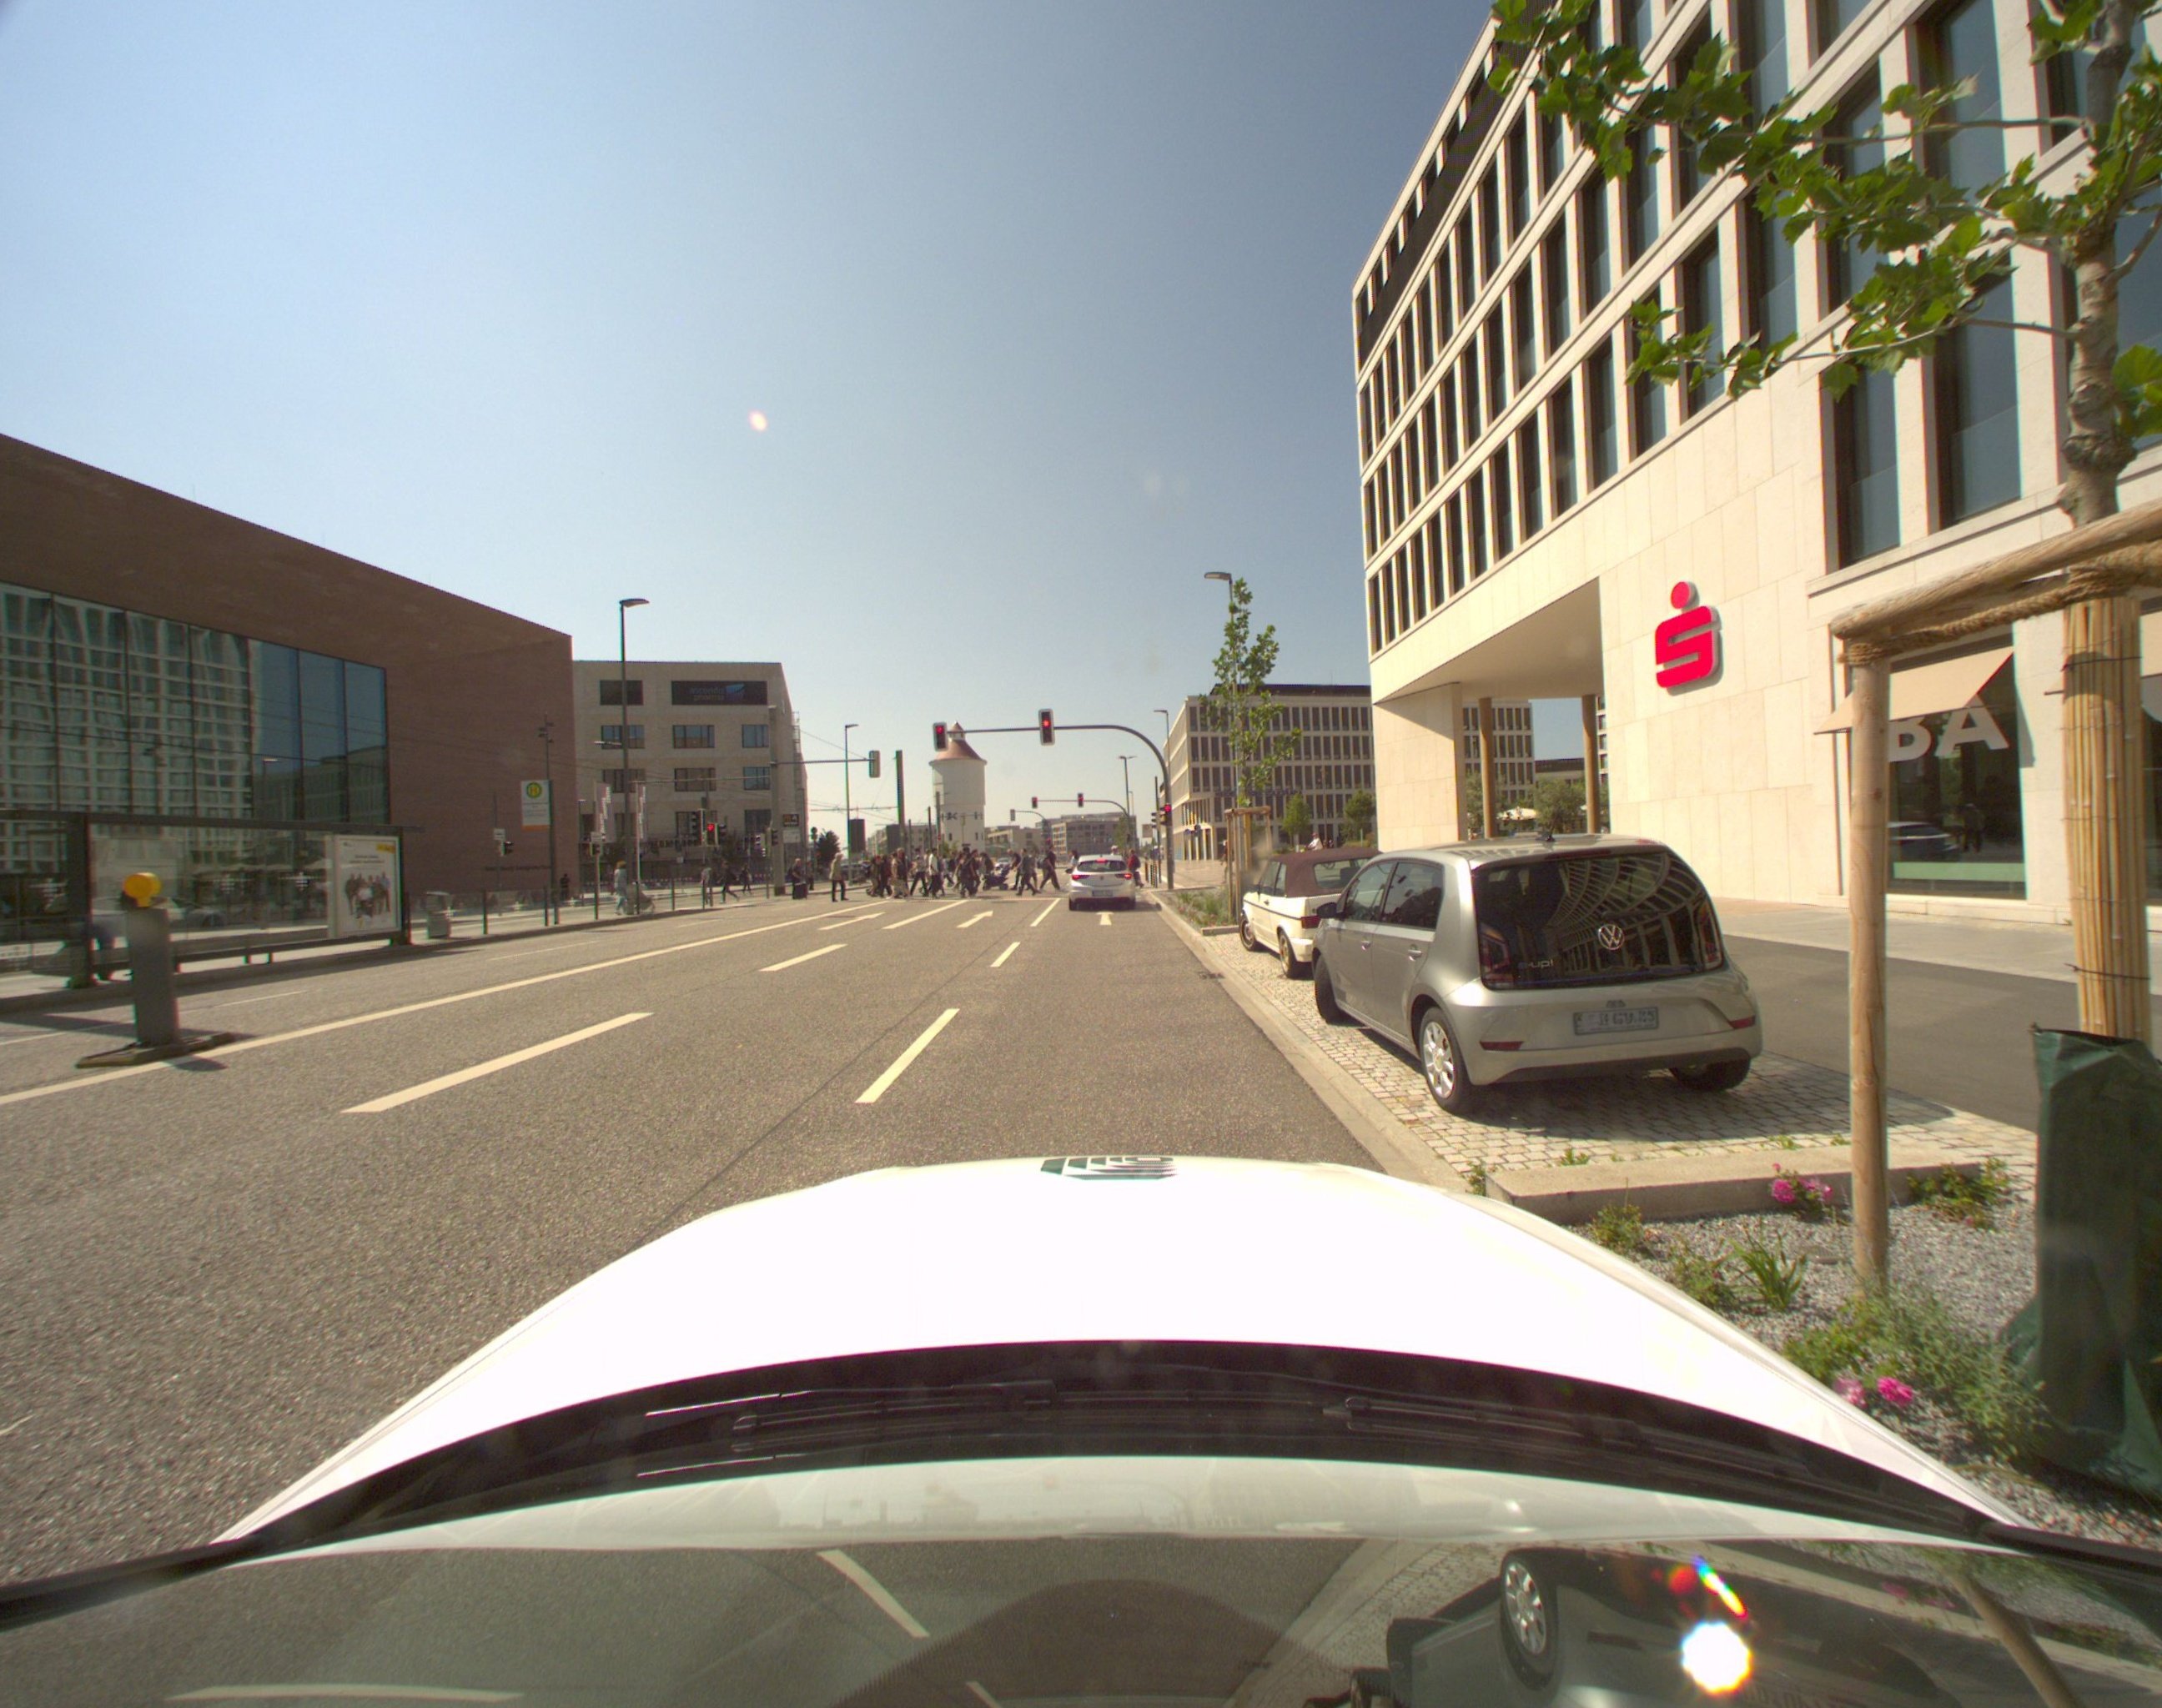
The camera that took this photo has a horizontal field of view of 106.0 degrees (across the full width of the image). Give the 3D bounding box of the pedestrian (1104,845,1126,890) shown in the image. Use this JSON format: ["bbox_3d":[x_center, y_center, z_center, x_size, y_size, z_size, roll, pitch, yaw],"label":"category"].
[{"bbox_3d":[1.328,0.517,31.923,0.763,1.734,0.692,-2,0,2],"label":"pedestrian"}]

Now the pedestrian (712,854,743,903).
[{"bbox_3d":[-14.975,1.018,34.552,1.022,2.013,0.949,-2,0,-17],"label":"pedestrian"}]

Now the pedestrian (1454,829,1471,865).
[{"bbox_3d":[21.535,-0.383,45.989,0.641,2.013,0.622,-2,0,1],"label":"pedestrian"}]

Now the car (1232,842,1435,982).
[{"bbox_3d":[2.988,0.598,10.455,1.424,1.390,4.001,-2,0,2],"label":"car"}]

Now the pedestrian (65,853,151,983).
[{"bbox_3d":[-14.050,0.895,11.775,0.551,1.820,0.596,-1,0,-20],"label":"pedestrian"}]

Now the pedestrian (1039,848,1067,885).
[{"bbox_3d":[-1.418,0.612,41.349,1.175,1.820,1.070,-2,0,5],"label":"pedestrian"}]

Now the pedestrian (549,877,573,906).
[{"bbox_3d":[-29.497,2.136,46.193,0.708,1.571,0.891,-2,0,1],"label":"pedestrian"}]

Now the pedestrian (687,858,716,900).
[{"bbox_3d":[-16.022,1.042,34.434,0.895,1.674,1.007,-2,0,-17],"label":"pedestrian"}]

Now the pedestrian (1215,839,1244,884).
[{"bbox_3d":[5.692,0.284,31.251,0.986,1.655,0.692,-2,0,3],"label":"pedestrian"}]

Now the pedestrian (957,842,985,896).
[{"bbox_3d":[-4.012,0.539,29.694,0.886,1.890,0.795,-2,0,-4],"label":"pedestrian"}]

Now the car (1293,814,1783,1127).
[{"bbox_3d":[2.736,0.579,5.814,1.550,1.472,3.471,-4,0,1],"label":"car"}]

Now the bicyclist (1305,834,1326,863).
[{"bbox_3d":[11.186,-0.251,38.877,0.616,1.360,0.898,-2,0,-9],"label":"bicyclist"}]

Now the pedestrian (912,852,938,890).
[{"bbox_3d":[-7.078,0.755,36.958,0.883,1.647,0.798,-2,0,5],"label":"pedestrian"}]

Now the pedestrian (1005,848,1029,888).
[{"bbox_3d":[-2.710,0.590,34.382,0.887,1.647,0.794,-2,0,-8],"label":"pedestrian"}]

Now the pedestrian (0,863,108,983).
[{"bbox_3d":[-16.384,1.070,12.948,0.808,1.820,0.825,-1,0,2],"label":"pedestrian"}]

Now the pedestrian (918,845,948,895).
[{"bbox_3d":[-5.836,0.625,32.053,0.883,1.890,0.798,-2,0,6],"label":"pedestrian"}]

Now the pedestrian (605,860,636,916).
[{"bbox_3d":[-13.835,1.016,24.489,0.502,1.622,0.650,-2,0,1],"label":"pedestrian"}]

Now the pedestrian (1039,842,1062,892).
[{"bbox_3d":[-1.180,0.506,32.051,0.763,1.890,0.692,-2,0,2],"label":"pedestrian"}]

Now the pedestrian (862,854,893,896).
[{"bbox_3d":[-8.230,0.842,33.003,0.906,1.637,0.815,-2,0,6],"label":"pedestrian"}]

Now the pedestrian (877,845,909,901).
[{"bbox_3d":[-6.588,0.652,28.548,0.886,1.890,0.691,-2,0,-4],"label":"pedestrian"}]

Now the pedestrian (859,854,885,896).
[{"bbox_3d":[-8.096,0.823,31.561,0.724,1.576,0.642,-2,0,6],"label":"pedestrian"}]

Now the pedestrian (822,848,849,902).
[{"bbox_3d":[-8.739,0.731,29.016,0.634,1.890,0.797,-2,0,3],"label":"pedestrian"}]

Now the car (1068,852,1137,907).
[{"bbox_3d":[0.664,0.680,22.684,1.764,1.395,3.535,-1,-1,3],"label":"car"}]

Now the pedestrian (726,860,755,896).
[{"bbox_3d":[-18.166,1.282,43.472,0.880,1.890,0.989,-2,0,21],"label":"pedestrian"}]

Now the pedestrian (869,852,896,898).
[{"bbox_3d":[-7.237,0.764,29.726,0.630,1.618,0.770,-2,0,7],"label":"pedestrian"}]

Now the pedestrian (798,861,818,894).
[{"bbox_3d":[-14.267,1.210,42.525,0.663,1.681,0.700,-3,0,42],"label":"pedestrian"}]

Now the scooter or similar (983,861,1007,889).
[{"bbox_3d":[-3.619,0.880,34.226,0.950,1.118,0.765,-2,0,-8],"label":"scooter or similar"}]

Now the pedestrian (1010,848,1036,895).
[{"bbox_3d":[-2.077,0.628,29.245,0.886,1.635,0.691,-2,0,-4],"label":"pedestrian"}]

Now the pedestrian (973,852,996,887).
[{"bbox_3d":[-4.695,0.734,39.569,0.883,1.647,0.798,-2,0,5],"label":"pedestrian"}]

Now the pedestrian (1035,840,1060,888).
[{"bbox_3d":[-1.348,0.414,32.861,0.837,1.890,0.692,-2,0,2],"label":"pedestrian"}]

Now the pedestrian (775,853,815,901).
[{"bbox_3d":[-11.896,0.951,33.947,1.164,1.890,1.061,-2,2,3],"label":"pedestrian"}]

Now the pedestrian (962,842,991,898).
[{"bbox_3d":[-3.617,0.549,28.213,0.886,1.890,0.691,-2,0,-4],"label":"pedestrian"}]

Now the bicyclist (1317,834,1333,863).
[{"bbox_3d":[11.676,-0.254,38.971,0.358,1.360,0.911,-2,0,-9],"label":"bicyclist"}]

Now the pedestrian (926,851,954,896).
[{"bbox_3d":[-5.309,0.713,30.737,0.790,1.647,0.891,-2,0,3],"label":"pedestrian"}]

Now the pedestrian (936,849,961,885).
[{"bbox_3d":[-6.275,0.613,38.576,0.883,1.647,0.798,-2,0,5],"label":"pedestrian"}]

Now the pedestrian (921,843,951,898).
[{"bbox_3d":[-5.082,0.571,28.588,0.886,1.890,0.691,-2,0,-4],"label":"pedestrian"}]

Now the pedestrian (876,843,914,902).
[{"bbox_3d":[-6.260,0.612,27.460,1.010,1.890,0.798,-2,0,-1],"label":"pedestrian"}]

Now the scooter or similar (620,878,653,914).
[{"bbox_3d":[-13.767,1.297,25.240,0.502,1.059,0.834,-2,0,1],"label":"scooter or similar"}]

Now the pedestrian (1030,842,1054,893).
[{"bbox_3d":[-1.486,0.497,31.092,0.763,1.890,0.692,-2,0,2],"label":"pedestrian"}]

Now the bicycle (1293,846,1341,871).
[{"bbox_3d":[11.271,0.221,38.884,1.962,1.083,0.902,-2,0,-10],"label":"bicycle"}]

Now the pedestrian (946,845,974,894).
[{"bbox_3d":[-4.799,0.602,32.352,0.884,1.890,0.797,-2,0,1],"label":"pedestrian"}]

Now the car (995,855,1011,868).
[{"bbox_3d":[-9.493,0.946,99.081,1.581,1.530,3.258,-1,-1,1],"label":"car"}]

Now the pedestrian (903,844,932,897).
[{"bbox_3d":[-6.024,0.585,30.007,0.726,1.890,0.822,-2,0,7],"label":"pedestrian"}]

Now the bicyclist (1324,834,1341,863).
[{"bbox_3d":[12.039,-0.263,39.036,0.358,1.360,0.899,-2,0,-9],"label":"bicyclist"}]

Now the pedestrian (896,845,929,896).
[{"bbox_3d":[-6.425,0.624,31.034,0.879,1.890,0.801,-3,0,37],"label":"pedestrian"}]

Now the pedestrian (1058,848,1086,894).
[{"bbox_3d":[-0.312,0.604,29.509,0.760,1.620,0.695,-2,0,18],"label":"pedestrian"}]

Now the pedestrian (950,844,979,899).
[{"bbox_3d":[-4.129,0.610,28.867,0.886,1.890,0.795,-2,0,-4],"label":"pedestrian"}]

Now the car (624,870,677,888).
[{"bbox_3d":[-39.266,2.269,74.414,3.883,1.486,1.680,-2,0,-9],"label":"car"}]

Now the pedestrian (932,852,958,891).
[{"bbox_3d":[-5.848,0.740,35.044,0.883,1.647,0.798,-2,0,5],"label":"pedestrian"}]

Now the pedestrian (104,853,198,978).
[{"bbox_3d":[-14.130,0.902,12.400,0.665,1.820,0.718,-1,0,-21],"label":"pedestrian"}]

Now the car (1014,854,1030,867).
[{"bbox_3d":[-6.917,0.786,96.041,1.581,1.530,3.692,-1,-1,0],"label":"car"}]

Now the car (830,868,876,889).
[{"bbox_3d":[-21.023,2.264,75.251,3.942,1.816,1.791,-1,-1,-11],"label":"car"}]

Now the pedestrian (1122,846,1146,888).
[{"bbox_3d":[2.174,0.520,33.203,0.883,1.647,0.798,-2,0,5],"label":"pedestrian"}]

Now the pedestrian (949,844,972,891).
[{"bbox_3d":[-4.949,0.561,33.472,0.730,1.890,0.715,-1,0,6],"label":"pedestrian"}]
